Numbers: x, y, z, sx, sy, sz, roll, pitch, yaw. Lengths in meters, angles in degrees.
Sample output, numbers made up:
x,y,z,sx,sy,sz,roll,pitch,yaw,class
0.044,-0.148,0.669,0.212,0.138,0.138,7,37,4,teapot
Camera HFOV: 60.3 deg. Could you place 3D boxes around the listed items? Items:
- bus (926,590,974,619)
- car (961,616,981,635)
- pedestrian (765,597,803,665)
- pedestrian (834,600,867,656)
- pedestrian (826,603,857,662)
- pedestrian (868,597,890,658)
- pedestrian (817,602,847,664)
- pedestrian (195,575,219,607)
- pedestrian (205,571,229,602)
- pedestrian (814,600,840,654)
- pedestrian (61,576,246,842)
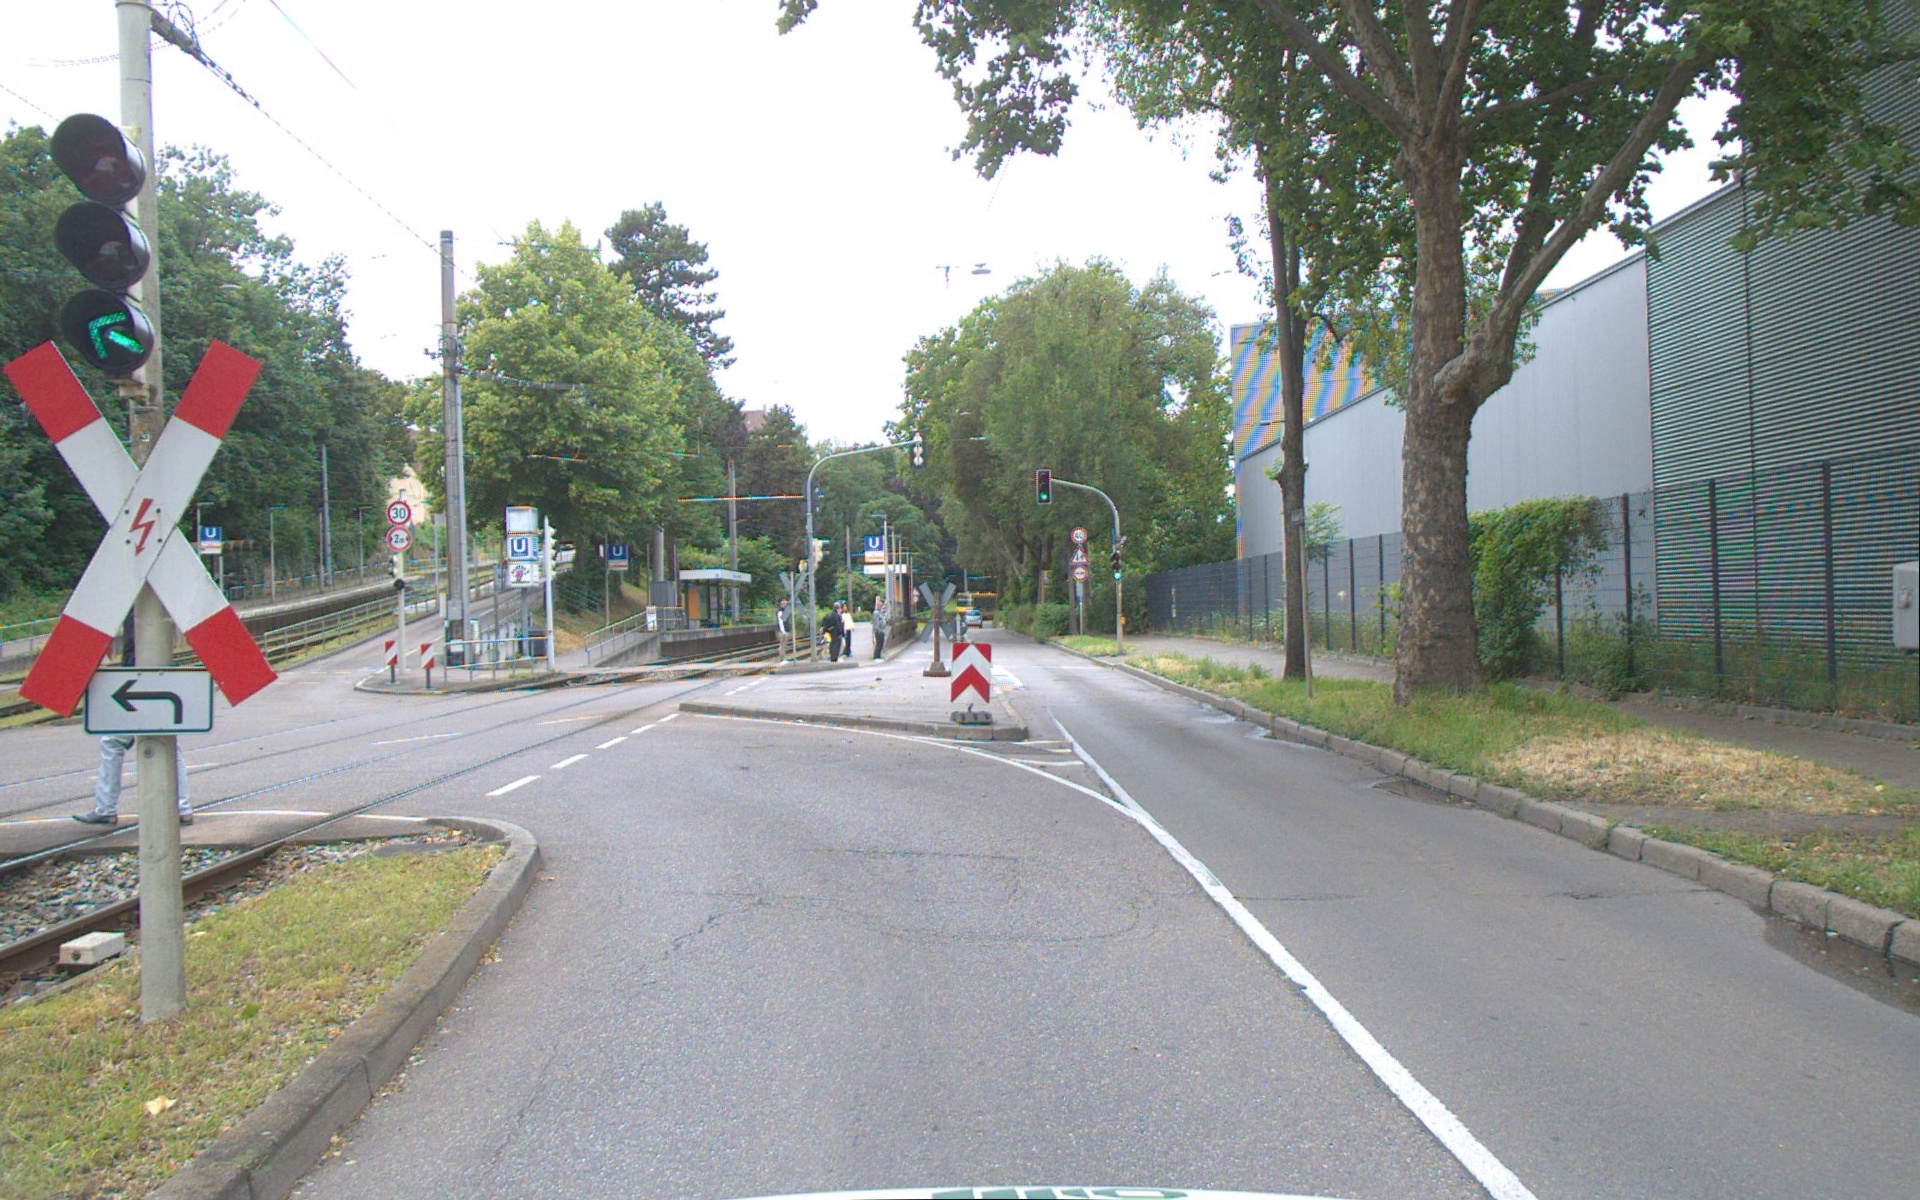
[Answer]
x,y,z,sx,sy,sz,roll,pitch,yaw,class
-1.312,0.652,221.829,2.681,3.690,8.931,1,-1,27,bus
0.949,2.311,150.792,1.708,1.627,3.999,2,-1,-1,car
-4.890,0.857,45.924,0.658,1.853,0.800,0,-1,41,pedestrian
-3.375,0.850,50.803,0.669,1.694,0.734,0,-1,39,pedestrian
-3.452,0.946,48.086,0.665,1.694,0.738,1,-1,15,pedestrian
-2.410,0.823,49.264,0.538,1.789,0.738,1,-1,4,pedestrian
-3.516,0.908,45.471,0.720,1.694,0.682,1,-1,1,pedestrian
-33.144,-0.389,72.828,0.757,1.349,0.786,1,2,-8,pedestrian
-33.193,-0.604,73.926,0.757,1.349,0.785,1,-1,-8,pedestrian
-4.188,0.857,52.201,0.722,1.694,0.680,1,-1,-11,pedestrian
-5.761,0.738,11.811,1.101,1.791,0.809,0,-1,42,pedestrian
